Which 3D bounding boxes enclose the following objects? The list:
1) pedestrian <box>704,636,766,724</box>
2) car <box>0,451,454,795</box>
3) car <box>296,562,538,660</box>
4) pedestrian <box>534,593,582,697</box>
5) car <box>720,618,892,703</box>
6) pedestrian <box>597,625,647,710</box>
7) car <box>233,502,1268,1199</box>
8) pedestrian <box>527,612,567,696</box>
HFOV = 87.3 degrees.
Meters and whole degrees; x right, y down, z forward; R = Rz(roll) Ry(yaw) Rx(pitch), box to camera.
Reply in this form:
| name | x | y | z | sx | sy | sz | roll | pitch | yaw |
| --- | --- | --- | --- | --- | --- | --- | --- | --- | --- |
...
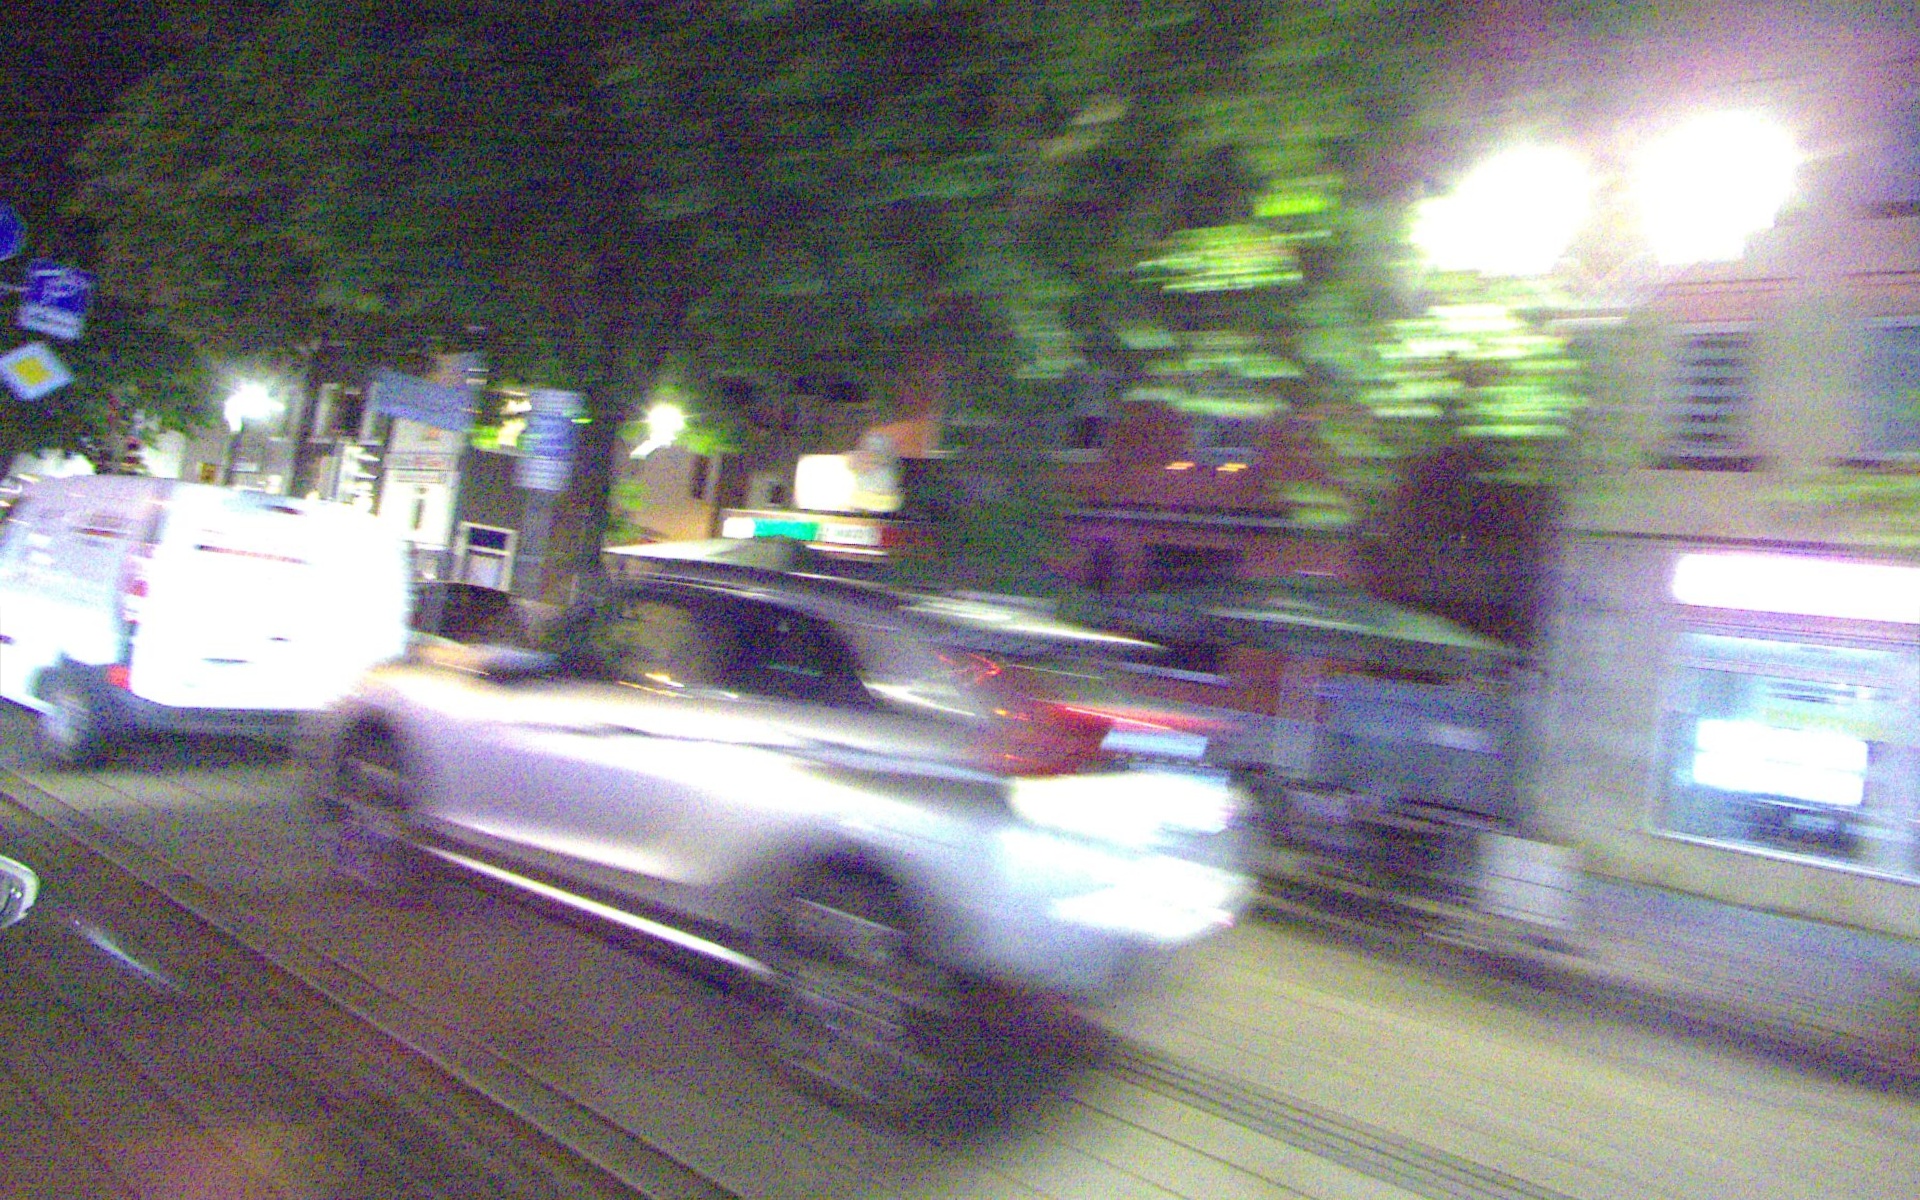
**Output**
| name | x | y | z | sx | sy | sz | roll | pitch | yaw |
| --- | --- | --- | --- | --- | --- | --- | --- | --- | --- |
| pedestrian | -3.561 | 1.260 | 15.918 | 0.677 | 1.277 | 0.525 | 10 | -3 | -30 |
| car | -6.005 | 0.036 | 7.406 | 4.504 | 1.842 | 1.793 | 7 | -3 | 32 |
| car | -11.953 | 0.310 | 22.460 | 1.773 | 1.548 | 4.327 | 5 | -4 | 31 |
| pedestrian | -6.448 | 0.717 | 16.136 | 0.476 | 1.605 | 0.370 | 9 | -2 | -22 |
| car | -3.704 | 1.549 | 24.870 | 1.773 | 1.567 | 4.153 | 9 | -2 | 31 |
| pedestrian | -5.469 | 1.088 | 16.285 | 0.524 | 1.277 | 0.499 | 9 | -3 | -28 |
| car | -1.084 | 0.678 | 4.396 | 4.225 | 1.677 | 1.689 | 7 | -3 | 31 |
| pedestrian | -6.155 | 0.799 | 15.009 | 0.385 | 1.181 | 0.516 | 9 | -3 | -22 |
